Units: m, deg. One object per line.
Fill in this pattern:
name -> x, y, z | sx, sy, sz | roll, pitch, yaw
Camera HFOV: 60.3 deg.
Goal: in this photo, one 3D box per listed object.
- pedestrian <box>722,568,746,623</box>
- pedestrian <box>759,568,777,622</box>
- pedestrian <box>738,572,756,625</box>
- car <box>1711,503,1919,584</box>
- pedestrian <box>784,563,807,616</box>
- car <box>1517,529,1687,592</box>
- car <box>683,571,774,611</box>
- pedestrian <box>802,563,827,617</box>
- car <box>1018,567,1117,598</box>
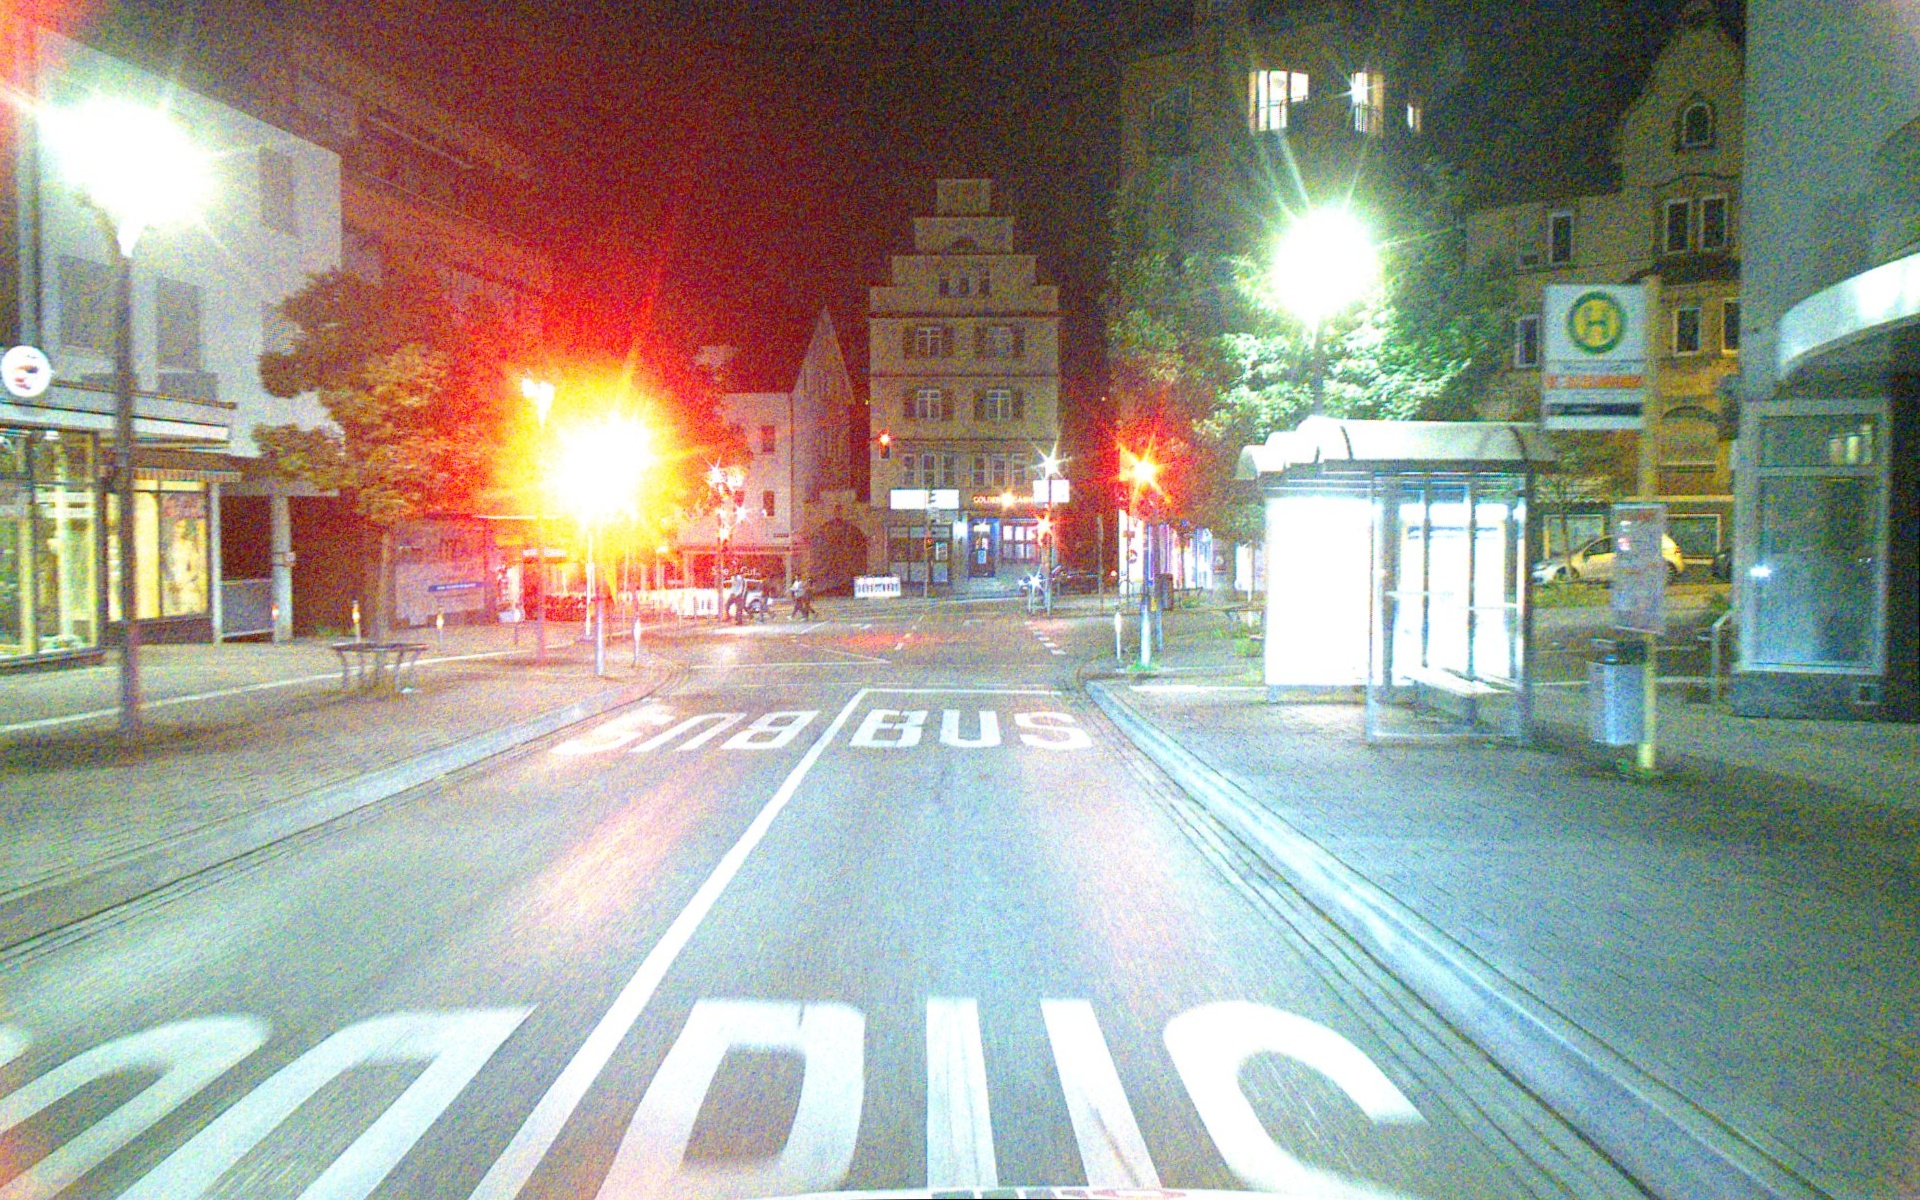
pedestrian -> -7.532, -0.146, 55.164 | 0.704, 1.827, 0.567 | 1, -1, -15
pedestrian -> -6.561, -0.176, 56.592 | 0.557, 1.827, 0.717 | 1, -1, -6
pedestrian -> -7.527, -0.052, 58.447 | 0.557, 1.827, 0.716 | 1, -1, -9
car -> 22.379, -1.424, 43.180 | 4.748, 1.943, 2.151 | 0, -1, 36
pedestrian -> -5.647, -0.354, 56.697 | 0.560, 1.827, 0.712 | 1, -1, -25
car -> 17.505, -1.083, 45.261 | 3.956, 1.477, 1.827 | -3, 1, 7
car -> -10.176, -0.390, 72.902 | 3.675, 1.646, 1.835 | 1, -1, 0
pedestrian -> -4.937, -0.328, 56.145 | 0.722, 1.827, 0.716 | 1, -1, -12
car -> 5.025, -0.786, 77.269 | 4.354, 1.320, 1.631 | 1, -1, -21
